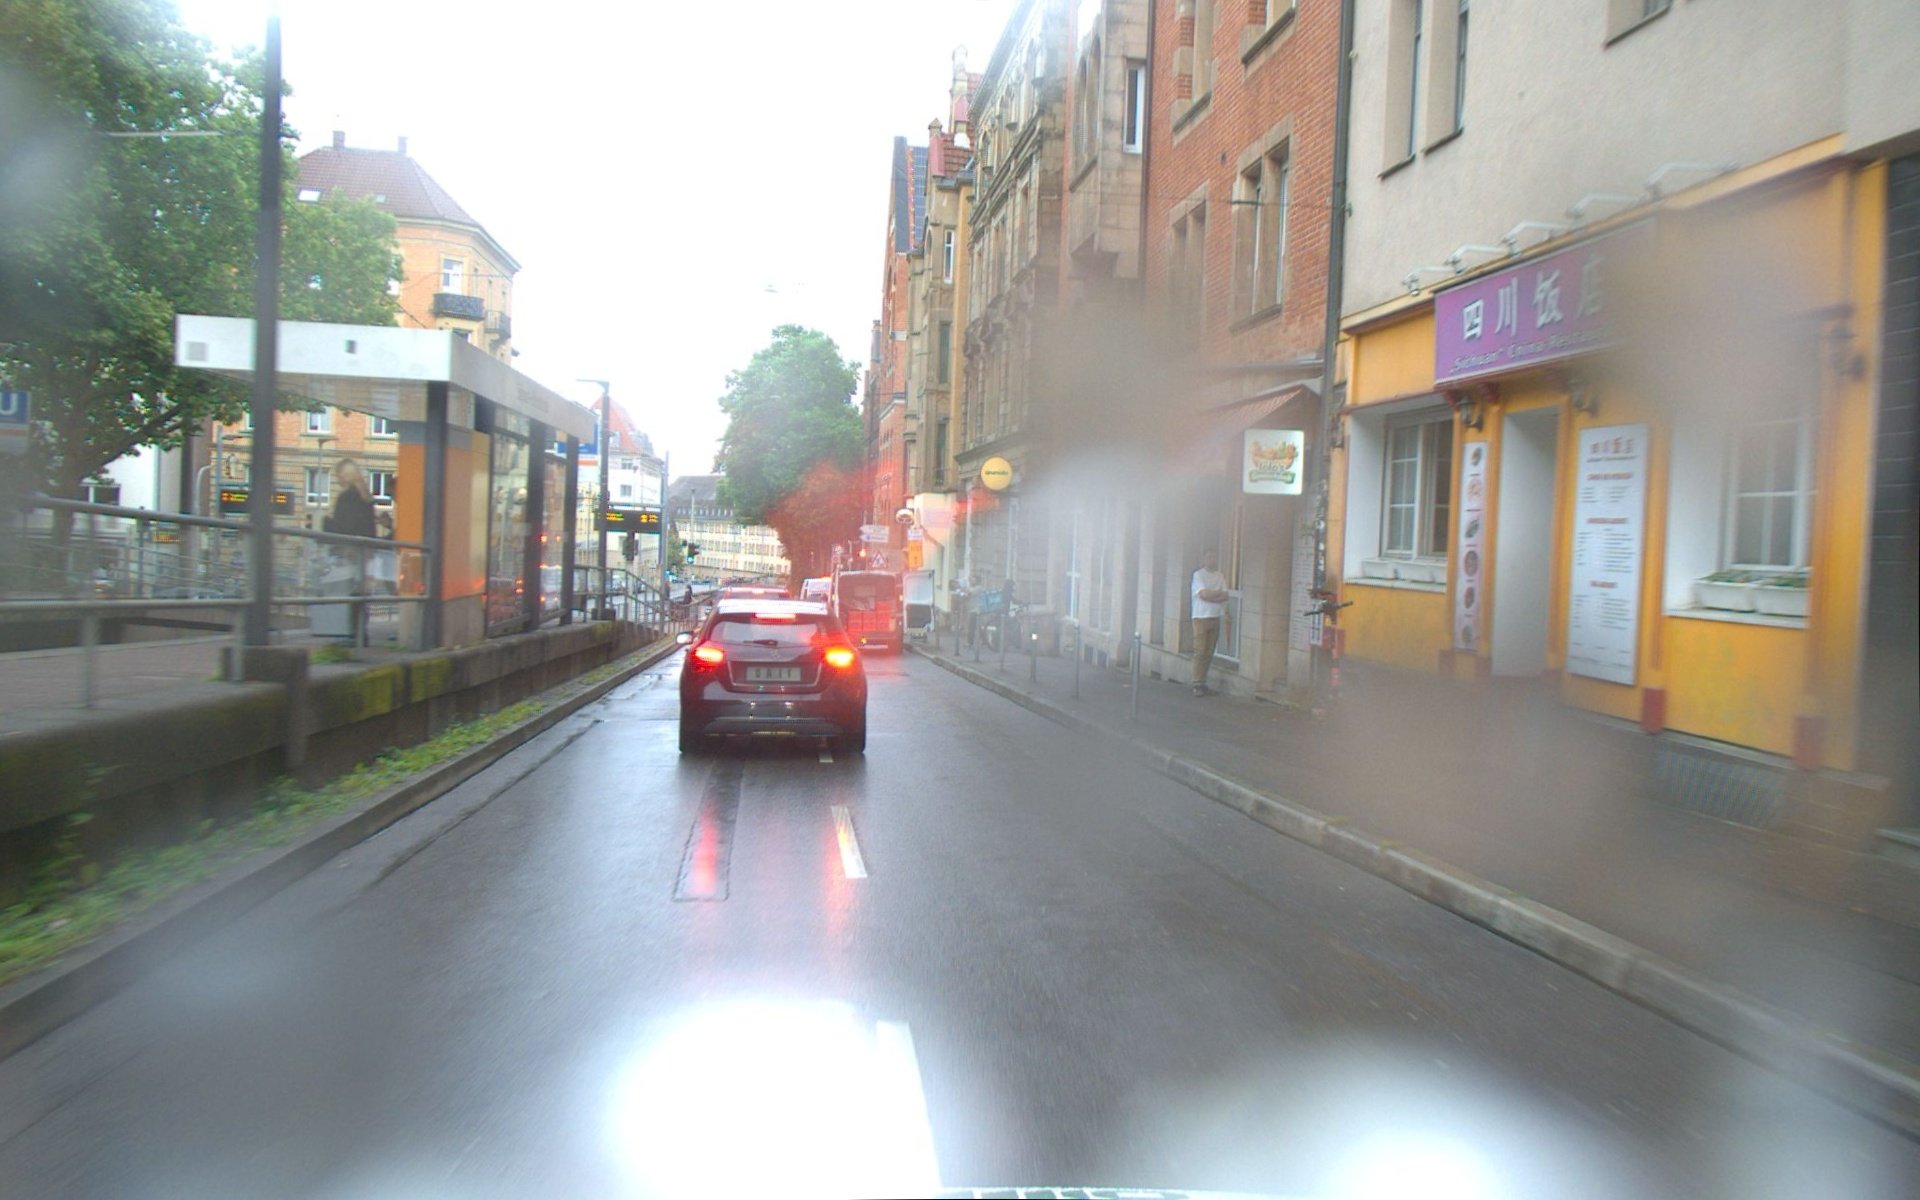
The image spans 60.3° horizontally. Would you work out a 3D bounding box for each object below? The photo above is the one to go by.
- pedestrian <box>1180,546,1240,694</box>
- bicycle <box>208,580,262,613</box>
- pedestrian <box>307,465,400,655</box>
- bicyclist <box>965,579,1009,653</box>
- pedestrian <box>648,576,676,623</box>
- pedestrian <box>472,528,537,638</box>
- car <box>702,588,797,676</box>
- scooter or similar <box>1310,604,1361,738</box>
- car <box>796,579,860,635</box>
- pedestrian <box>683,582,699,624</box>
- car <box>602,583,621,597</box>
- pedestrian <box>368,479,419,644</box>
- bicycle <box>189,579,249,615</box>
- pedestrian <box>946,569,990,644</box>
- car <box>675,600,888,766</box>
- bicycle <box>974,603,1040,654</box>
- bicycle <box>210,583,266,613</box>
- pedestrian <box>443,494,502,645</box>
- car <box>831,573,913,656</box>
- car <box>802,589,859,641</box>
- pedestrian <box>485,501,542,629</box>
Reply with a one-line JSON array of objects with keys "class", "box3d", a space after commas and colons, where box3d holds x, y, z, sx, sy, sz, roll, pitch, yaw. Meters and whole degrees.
[{"class": "pedestrian", "box3d": [3.211, 0.256, 21.255, 0.567, 1.862, 0.562, -2, 0, -9]}, {"class": "bicycle", "box3d": [-26.878, -0.118, 61.337, 1.739, 1.162, 0.515, 1, 0, -18]}, {"class": "pedestrian", "box3d": [-5.361, -0.351, 14.633, 0.485, 1.633, 0.637, 1, 0, 10]}, {"class": "bicyclist", "box3d": [0.623, 0.354, 38.250, 0.842, 1.686, 0.622, 0, 0, -41]}, {"class": "pedestrian", "box3d": [-11.347, -0.013, 62.947, 0.727, 1.754, 0.737, 2, 0, 40]}, {"class": "pedestrian", "box3d": [-5.319, -0.200, 19.317, 0.601, 1.248, 0.507, 2, 0, -3]}, {"class": "car", "box3d": [-3.977, 0.554, 31.094, 1.648, 1.515, 3.606, 1, 1, -8]}, {"class": "scooter or similar", "box3d": [3.688, 0.676, 16.299, 0.252, 1.243, 1.195, 2, 0, 3]}, {"class": "car", "box3d": [-4.774, 0.217, 59.336, 1.897, 1.863, 4.272, 2, 1, -9]}, {"class": "pedestrian", "box3d": [-10.236, 0.111, 63.008, 0.522, 1.557, 0.435, 2, 0, -14]}, {"class": "car", "box3d": [-31.348, -0.909, 148.745, 1.368, 1.191, 3.158, 2, 0, -6]}, {"class": "pedestrian", "box3d": [-5.715, -0.382, 16.696, 0.402, 1.633, 0.449, 1, 0, -12]}, {"class": "bicycle", "box3d": [-26.120, -0.118, 58.349, 1.841, 1.216, 0.515, 1, 0, -18]}, {"class": "pedestrian", "box3d": [0.187, 0.145, 39.811, 0.825, 1.784, 0.679, 0, 0, -31]}, {"class": "car", "box3d": [-1.768, 0.743, 16.719, 1.858, 1.414, 3.995, 1, 0, -6]}, {"class": "bicycle", "box3d": [1.081, 0.642, 38.010, 1.675, 1.135, 0.457, 0, 0, -43]}, {"class": "bicycle", "box3d": [-27.097, -0.072, 62.103, 1.841, 1.083, 0.515, 1, 0, -18]}, {"class": "pedestrian", "box3d": [-5.357, -0.333, 18.205, 0.496, 1.617, 0.527, 2, 0, -7]}, {"class": "car", "box3d": [-2.314, 0.332, 42.514, 1.883, 1.969, 4.680, 1, 0, -5]}, {"class": "car", "box3d": [-4.069, 0.442, 52.078, 1.679, 1.494, 4.277, 2, 0, -4]}, {"class": "pedestrian", "box3d": [-6.099, -0.472, 22.615, 0.601, 1.717, 0.587, 2, 0, -3]}]
